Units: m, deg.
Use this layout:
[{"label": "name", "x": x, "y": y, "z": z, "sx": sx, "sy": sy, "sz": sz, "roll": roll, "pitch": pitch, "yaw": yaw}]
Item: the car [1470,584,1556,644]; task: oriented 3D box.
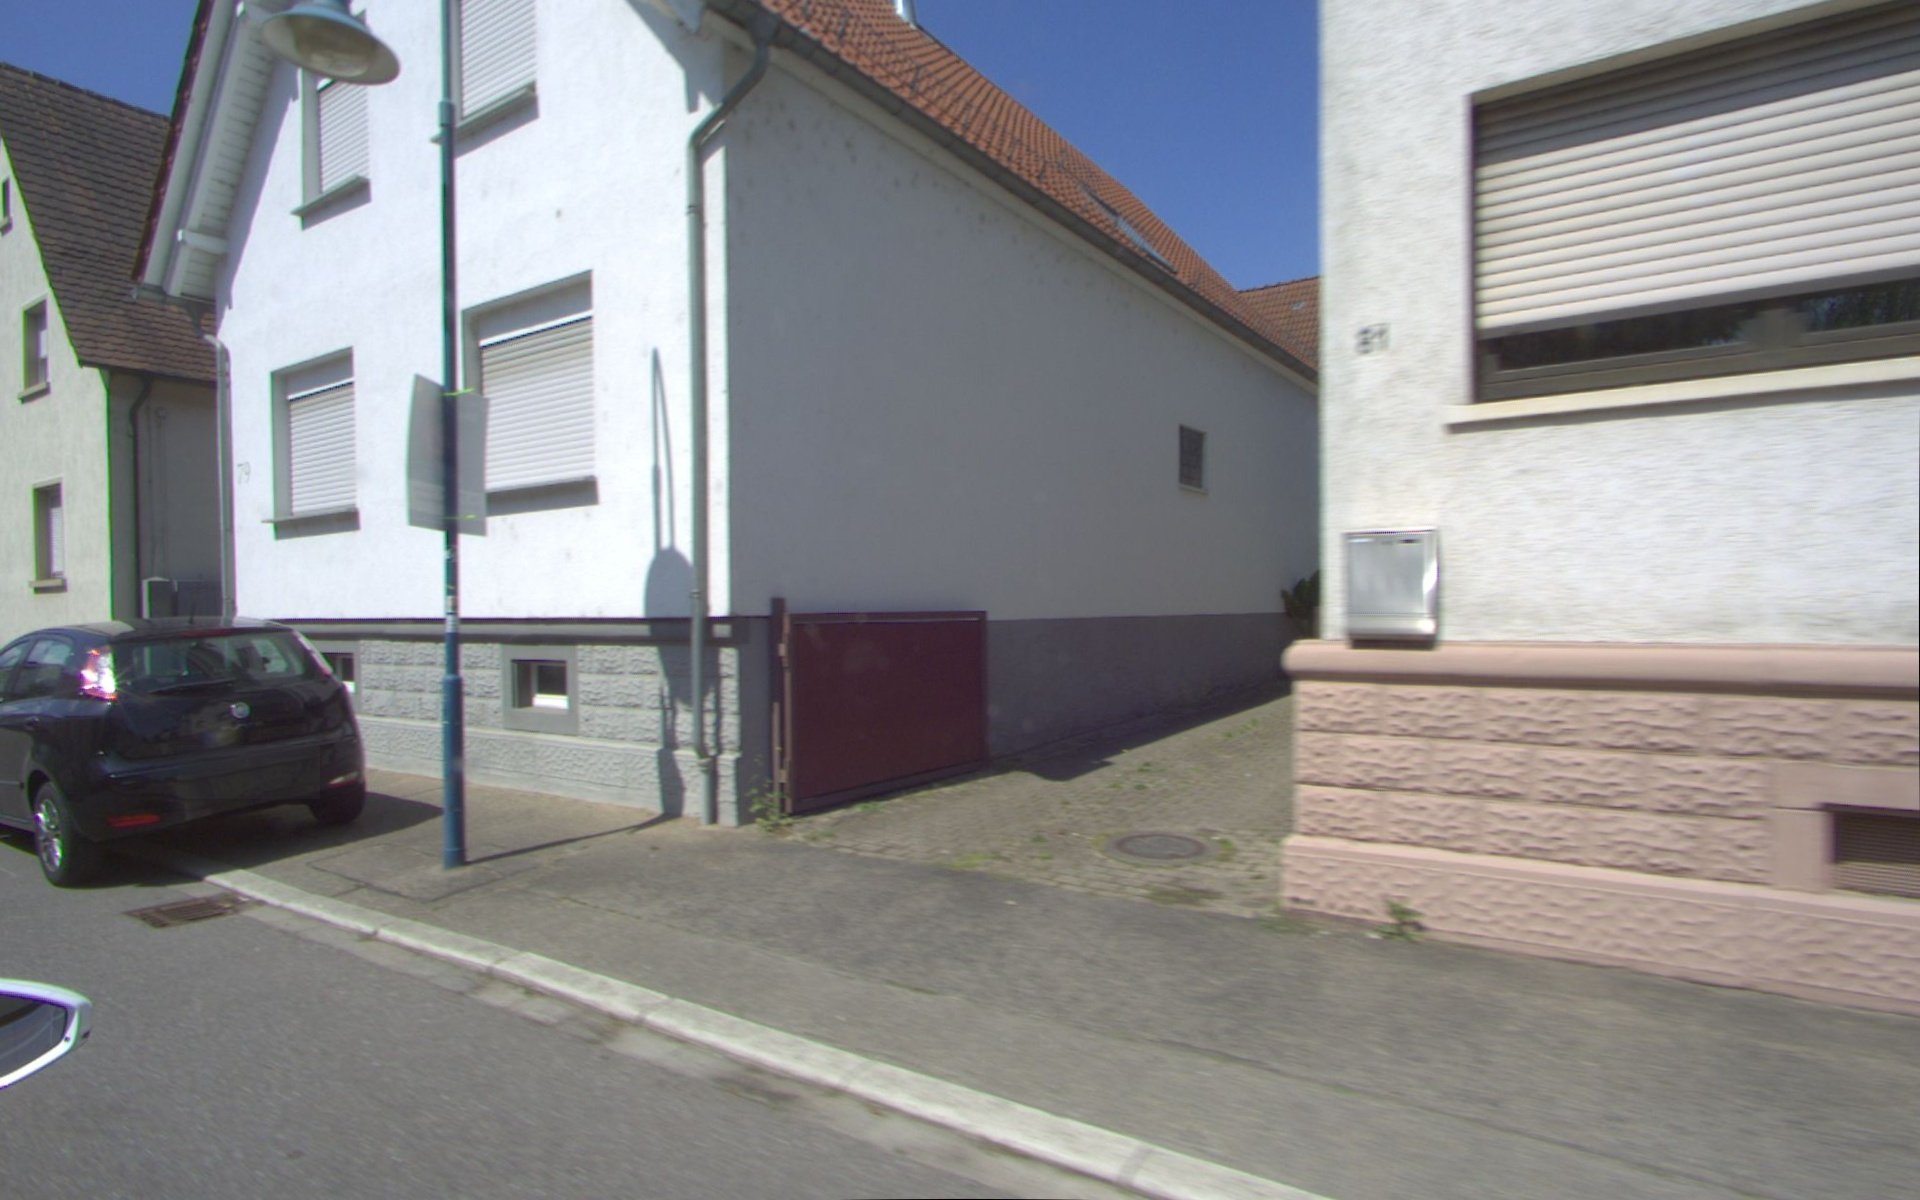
[{"label": "car", "x": 14.997, "y": 0.362, "z": 27.082, "sx": 1.547, "sy": 1.506, "sz": 3.973, "roll": 0, "pitch": 0, "yaw": 36}]

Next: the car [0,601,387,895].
[{"label": "car", "x": -5.959, "y": 0.818, "z": 7.130, "sx": 3.916, "sy": 1.516, "sz": 1.612, "roll": -1, "pitch": 3, "yaw": 33}]
